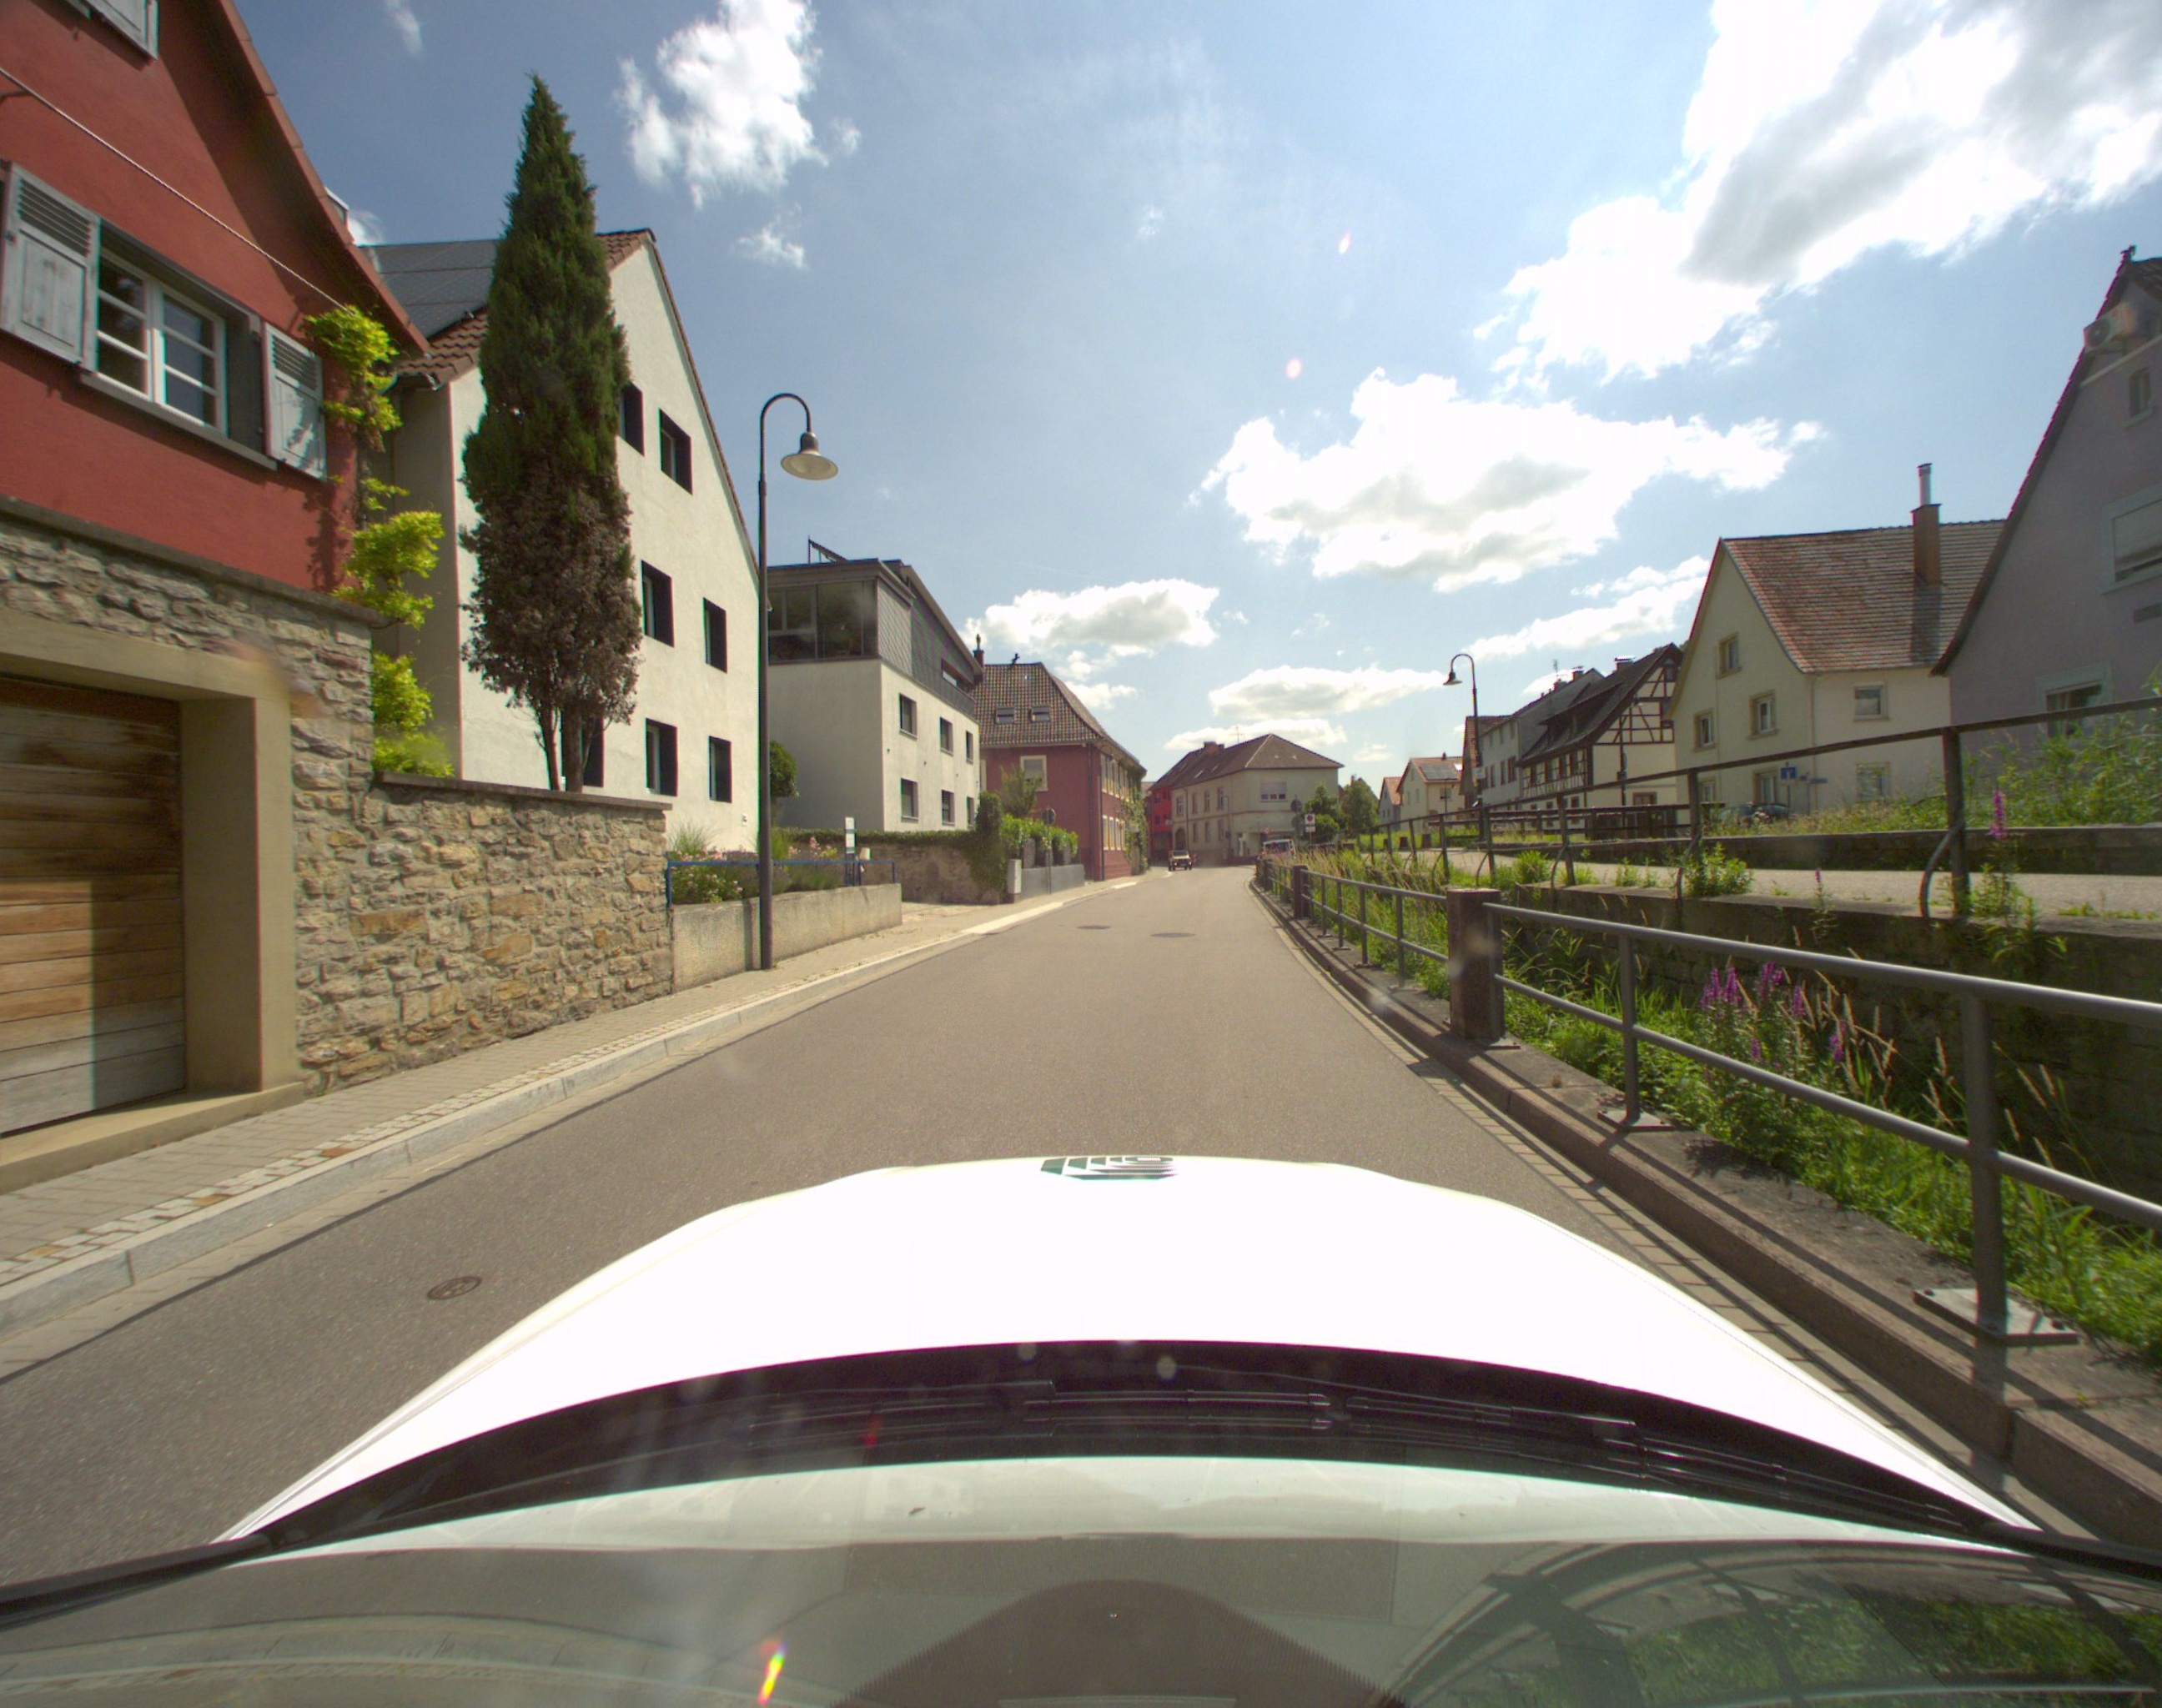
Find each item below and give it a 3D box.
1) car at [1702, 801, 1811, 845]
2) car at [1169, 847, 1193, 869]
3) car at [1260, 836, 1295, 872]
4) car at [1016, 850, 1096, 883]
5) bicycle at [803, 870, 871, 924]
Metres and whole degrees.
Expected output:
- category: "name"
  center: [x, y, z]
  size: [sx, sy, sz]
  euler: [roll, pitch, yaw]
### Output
- category: "car"
  center: [23.718, -1.044, 28.732]
  size: [1.654, 1.416, 3.088]
  euler: [-2, 0, 11]
- category: "car"
  center: [8.530, 0.313, 69.681]
  size: [1.615, 1.719, 3.475]
  euler: [-4, 0, 3]
- category: "car"
  center: [11.838, 0.003, 48.952]
  size: [1.884, 1.980, 3.126]
  euler: [-4, -1, 15]
- category: "car"
  center: [-1.196, 0.608, 39.939]
  size: [3.541, 1.406, 1.657]
  euler: [3, 1, 11]
- category: "bicycle"
  center: [-4.729, 0.814, 15.886]
  size: [0.504, 0.972, 1.544]
  euler: [4, 0, 12]
